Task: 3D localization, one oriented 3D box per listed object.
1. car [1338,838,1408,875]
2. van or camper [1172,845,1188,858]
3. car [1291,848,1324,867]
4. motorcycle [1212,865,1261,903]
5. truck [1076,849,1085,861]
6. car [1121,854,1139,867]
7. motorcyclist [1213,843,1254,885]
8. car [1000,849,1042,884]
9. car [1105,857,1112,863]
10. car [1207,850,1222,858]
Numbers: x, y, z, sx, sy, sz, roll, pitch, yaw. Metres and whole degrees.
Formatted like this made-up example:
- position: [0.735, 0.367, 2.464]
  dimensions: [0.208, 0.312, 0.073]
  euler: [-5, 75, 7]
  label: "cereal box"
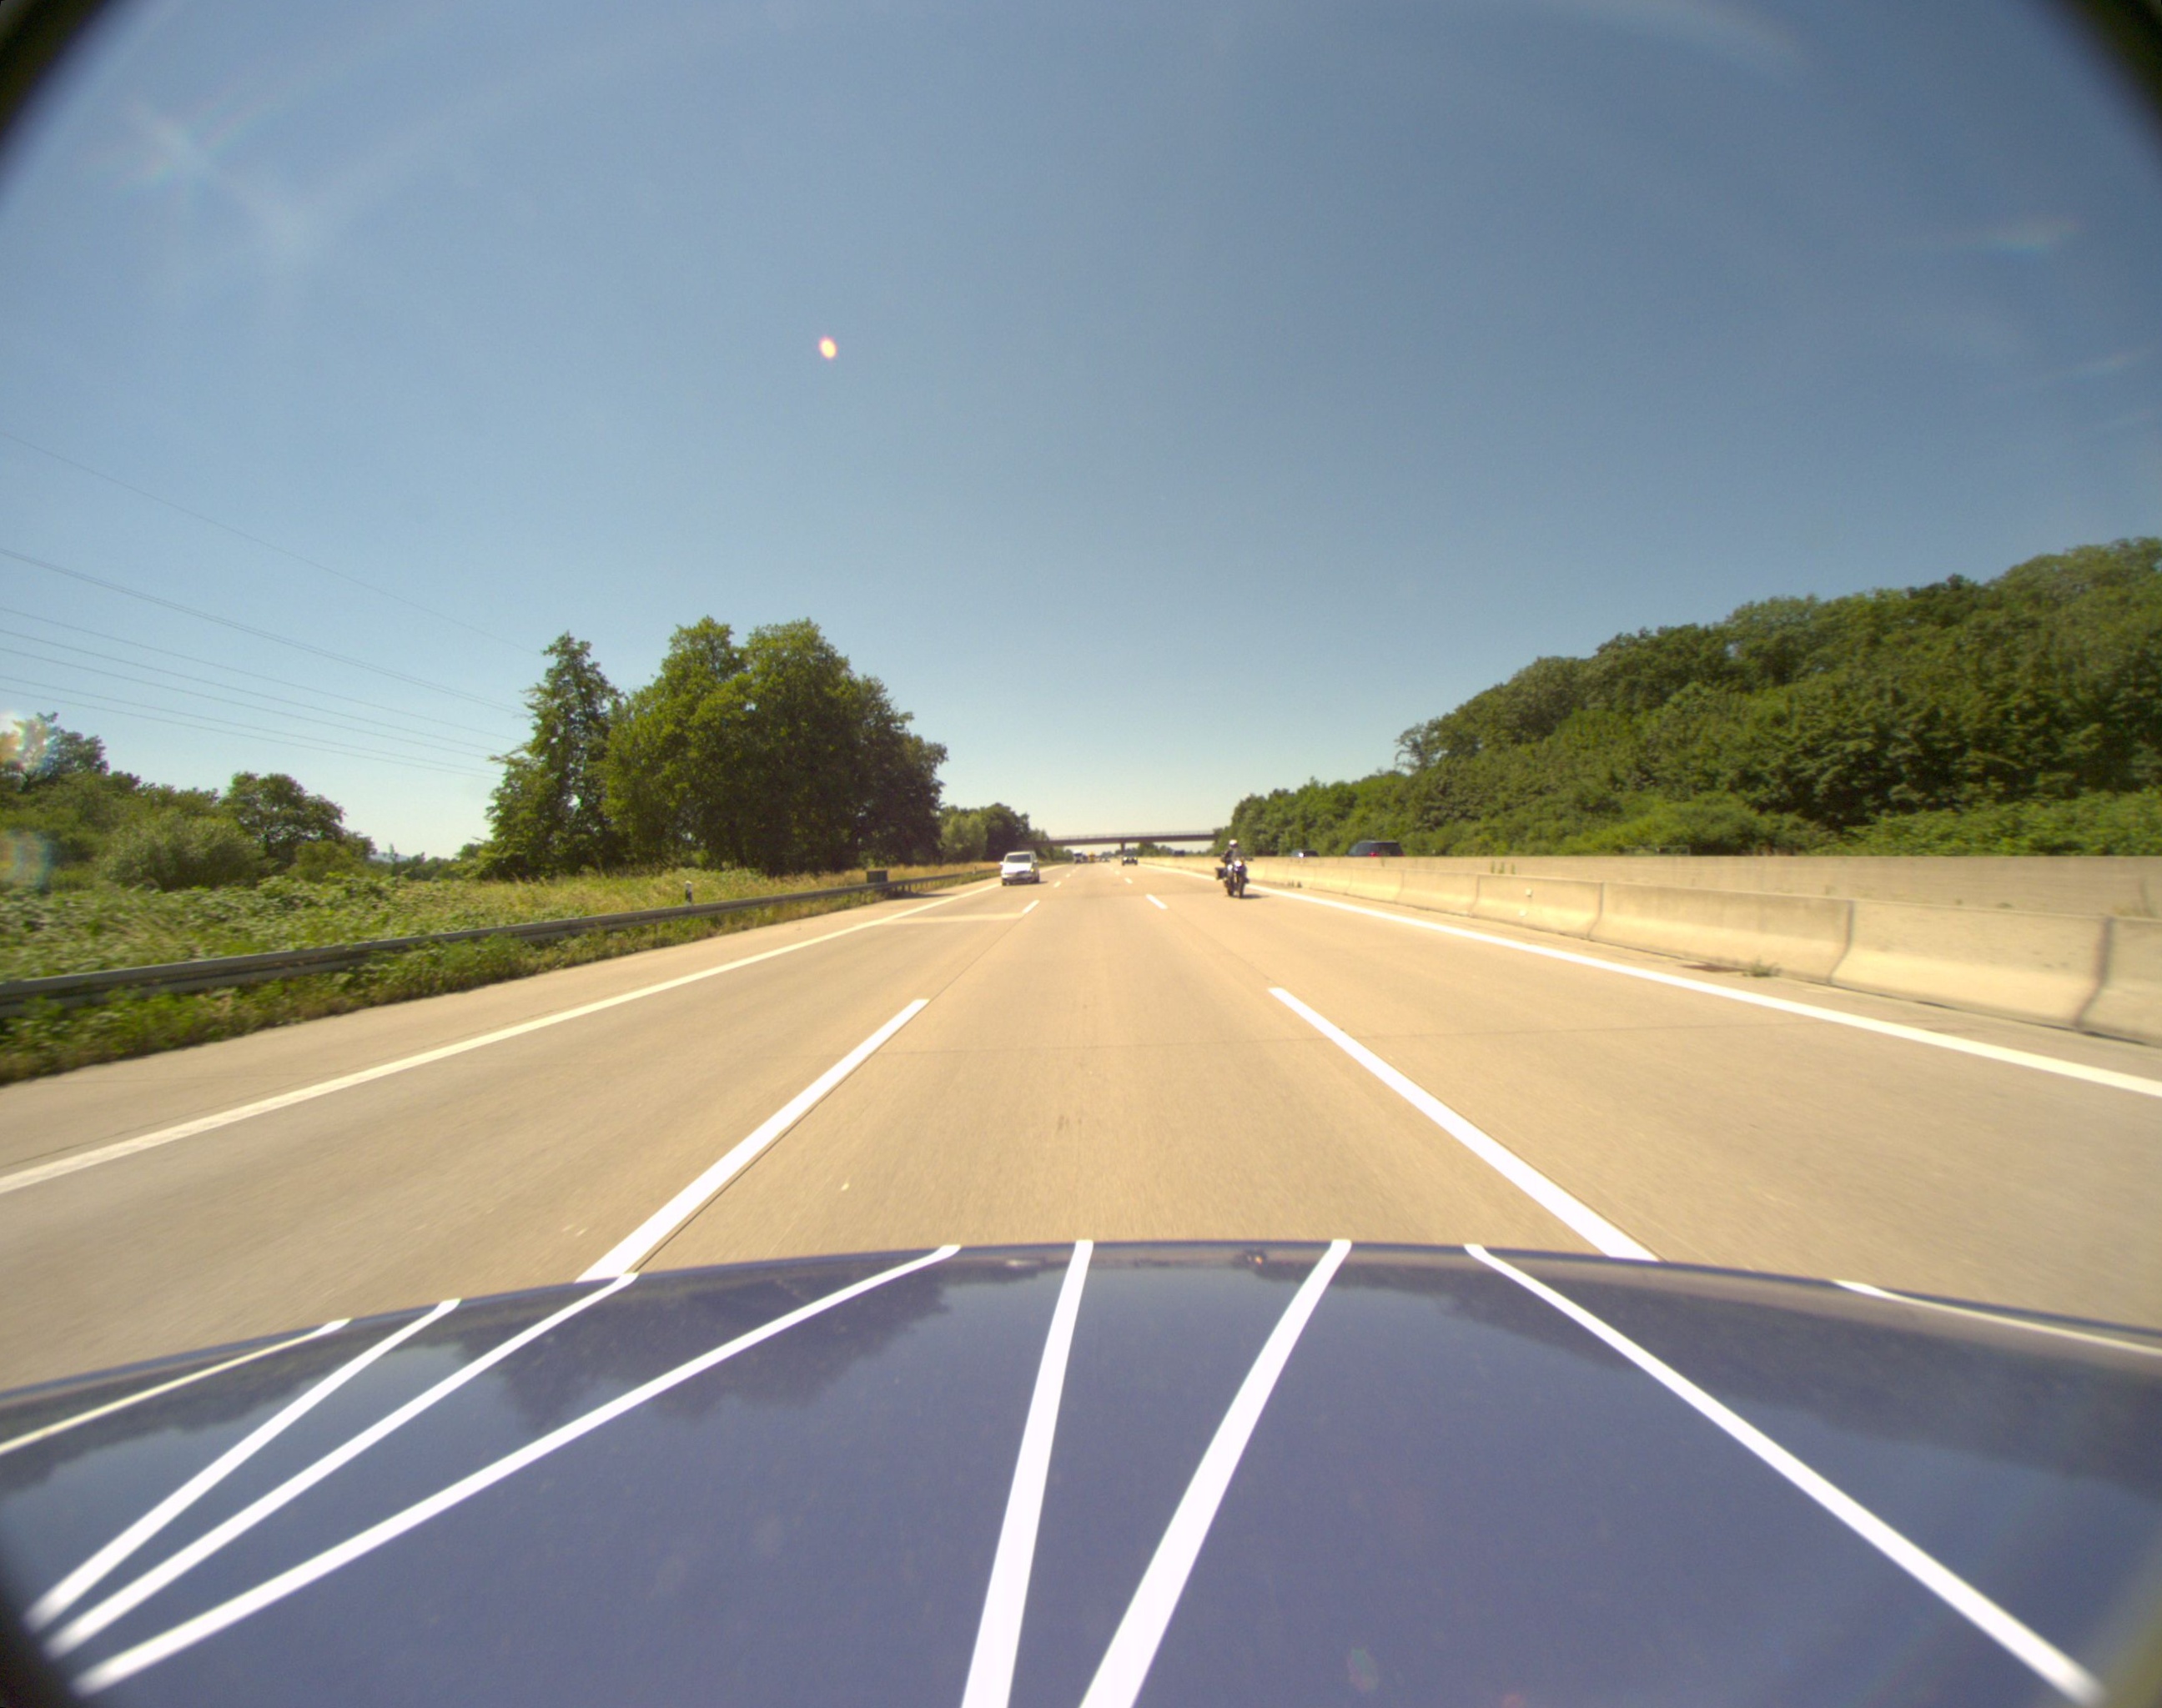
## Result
- position: [13.928, 0.117, 36.518]
  dimensions: [1.707, 1.648, 4.159]
  euler: [-1, 0, -1]
  label: "car"
- position: [15.057, -0.412, 116.032]
  dimensions: [1.852, 1.871, 4.417]
  euler: [-2, 0, 0]
  label: "van or camper"
- position: [18.115, 0.268, 60.849]
  dimensions: [1.635, 1.410, 3.523]
  euler: [-2, 0, 2]
  label: "car"
- position: [4.614, 0.877, 22.763]
  dimensions: [1.023, 1.042, 2.413]
  euler: [-2, -1, 2]
  label: "motorcycle"
- position: [-0.060, 0.455, 235.670]
  dimensions: [2.570, 3.513, 10.101]
  euler: [-2, -1, 1]
  label: "truck"
- position: [6.014, 0.794, 92.992]
  dimensions: [1.998, 1.518, 4.000]
  euler: [-1, 0, 1]
  label: "car"
- position: [4.579, 0.294, 22.828]
  dimensions: [1.027, 1.201, 0.911]
  euler: [-2, 0, 2]
  label: "motorcyclist"
- position: [-3.488, 0.730, 45.041]
  dimensions: [1.884, 1.878, 5.280]
  euler: [-3, -1, 1]
  label: "car"
- position: [6.907, 1.560, 191.710]
  dimensions: [1.586, 1.527, 3.611]
  euler: [-1, 0, 1]
  label: "car"
- position: [23.004, -0.036, 131.286]
  dimensions: [1.932, 1.368, 4.000]
  euler: [-2, 0, 2]
  label: "car"
